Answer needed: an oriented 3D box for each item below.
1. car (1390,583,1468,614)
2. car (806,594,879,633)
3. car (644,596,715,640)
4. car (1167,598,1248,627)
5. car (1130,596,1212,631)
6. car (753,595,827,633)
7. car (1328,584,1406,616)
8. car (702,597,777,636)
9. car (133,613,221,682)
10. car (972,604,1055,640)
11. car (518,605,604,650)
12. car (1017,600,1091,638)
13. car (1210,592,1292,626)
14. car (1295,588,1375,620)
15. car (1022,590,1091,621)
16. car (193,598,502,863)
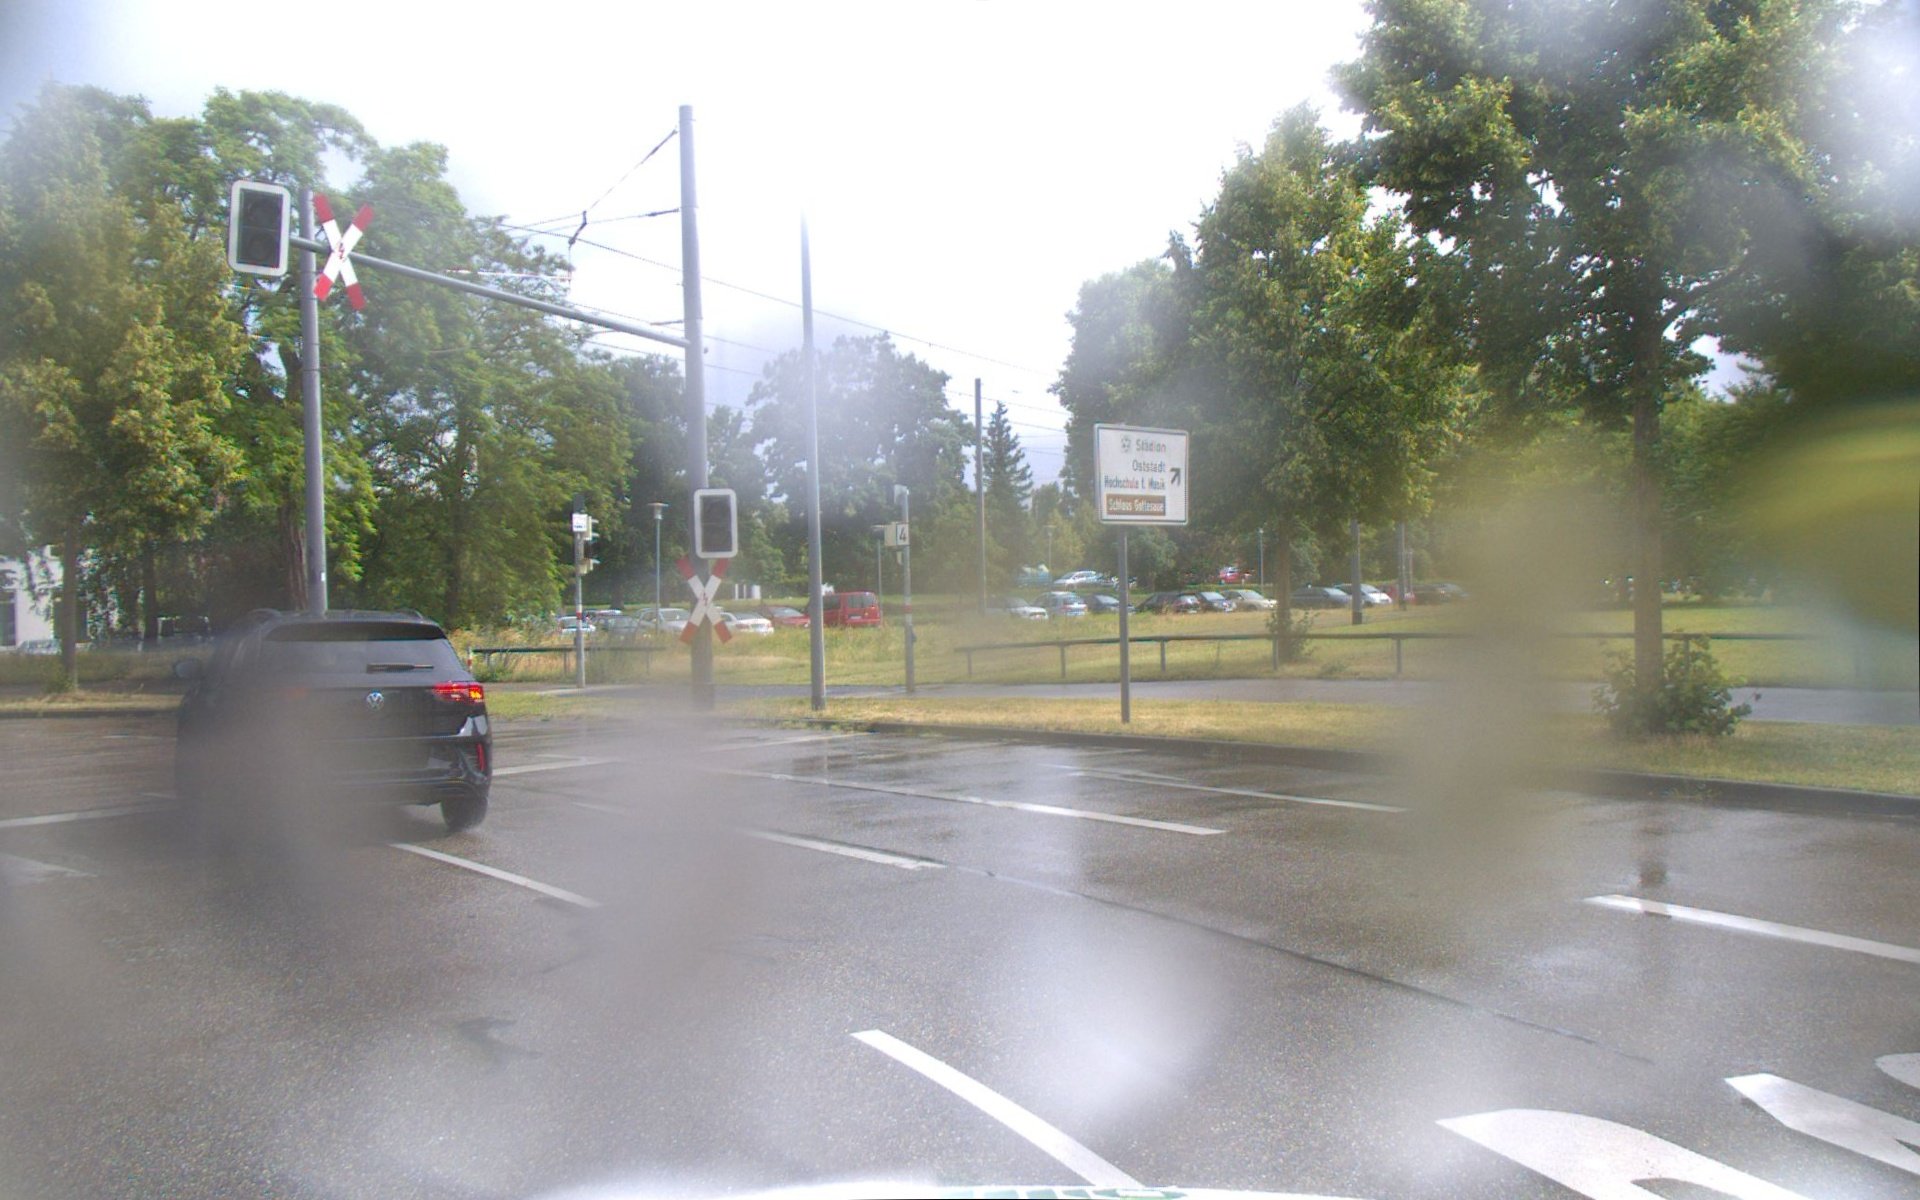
[{"bbox_3d":[26.360,-0.060,92.987,1.829,1.587,3.929,-2,0,-35],"label":"car"},{"bbox_3d":[-4.993,0.573,70.027,1.628,1.536,3.613,-2,0,-30],"label":"car"},{"bbox_3d":[-11.249,0.727,66.167,1.530,1.688,3.610,-2,0,-31],"label":"car"},{"bbox_3d":[12.434,0.623,83.320,1.829,1.331,3.929,-2,0,-35],"label":"car"},{"bbox_3d":[10.381,0.685,81.553,1.829,1.587,3.929,-2,0,-35],"label":"car"},{"bbox_3d":[-7.080,0.596,68.648,1.625,1.487,3.570,-2,0,-33],"label":"car"},{"bbox_3d":[22.518,0.020,91.541,1.829,1.587,3.929,-2,0,-35],"label":"car"},{"bbox_3d":[-8.955,0.695,66.962,1.625,1.487,3.570,-2,0,-33],"label":"car"},{"bbox_3d":[-26.264,1.532,55.407,2.086,2.093,5.106,-3,1,-31],"label":"car"},{"bbox_3d":[2.446,1.017,75.997,1.779,1.554,3.950,-2,0,-35],"label":"car"},{"bbox_3d":[-15.081,1.056,62.363,1.829,1.587,3.929,-2,0,-35],"label":"car"},{"bbox_3d":[4.378,0.897,77.314,1.533,1.689,3.583,-2,0,-35],"label":"car"},{"bbox_3d":[14.866,0.475,84.622,1.829,1.587,3.929,-2,0,-35],"label":"car"},{"bbox_3d":[20.114,0.235,88.798,1.829,1.587,3.929,-2,0,-35],"label":"car"},{"bbox_3d":[5.409,0.317,93.145,1.779,1.554,3.950,-2,0,-35],"label":"car"},{"bbox_3d":[-4.692,0.877,12.509,1.872,1.646,3.971,0,-2,-23],"label":"car"}]
